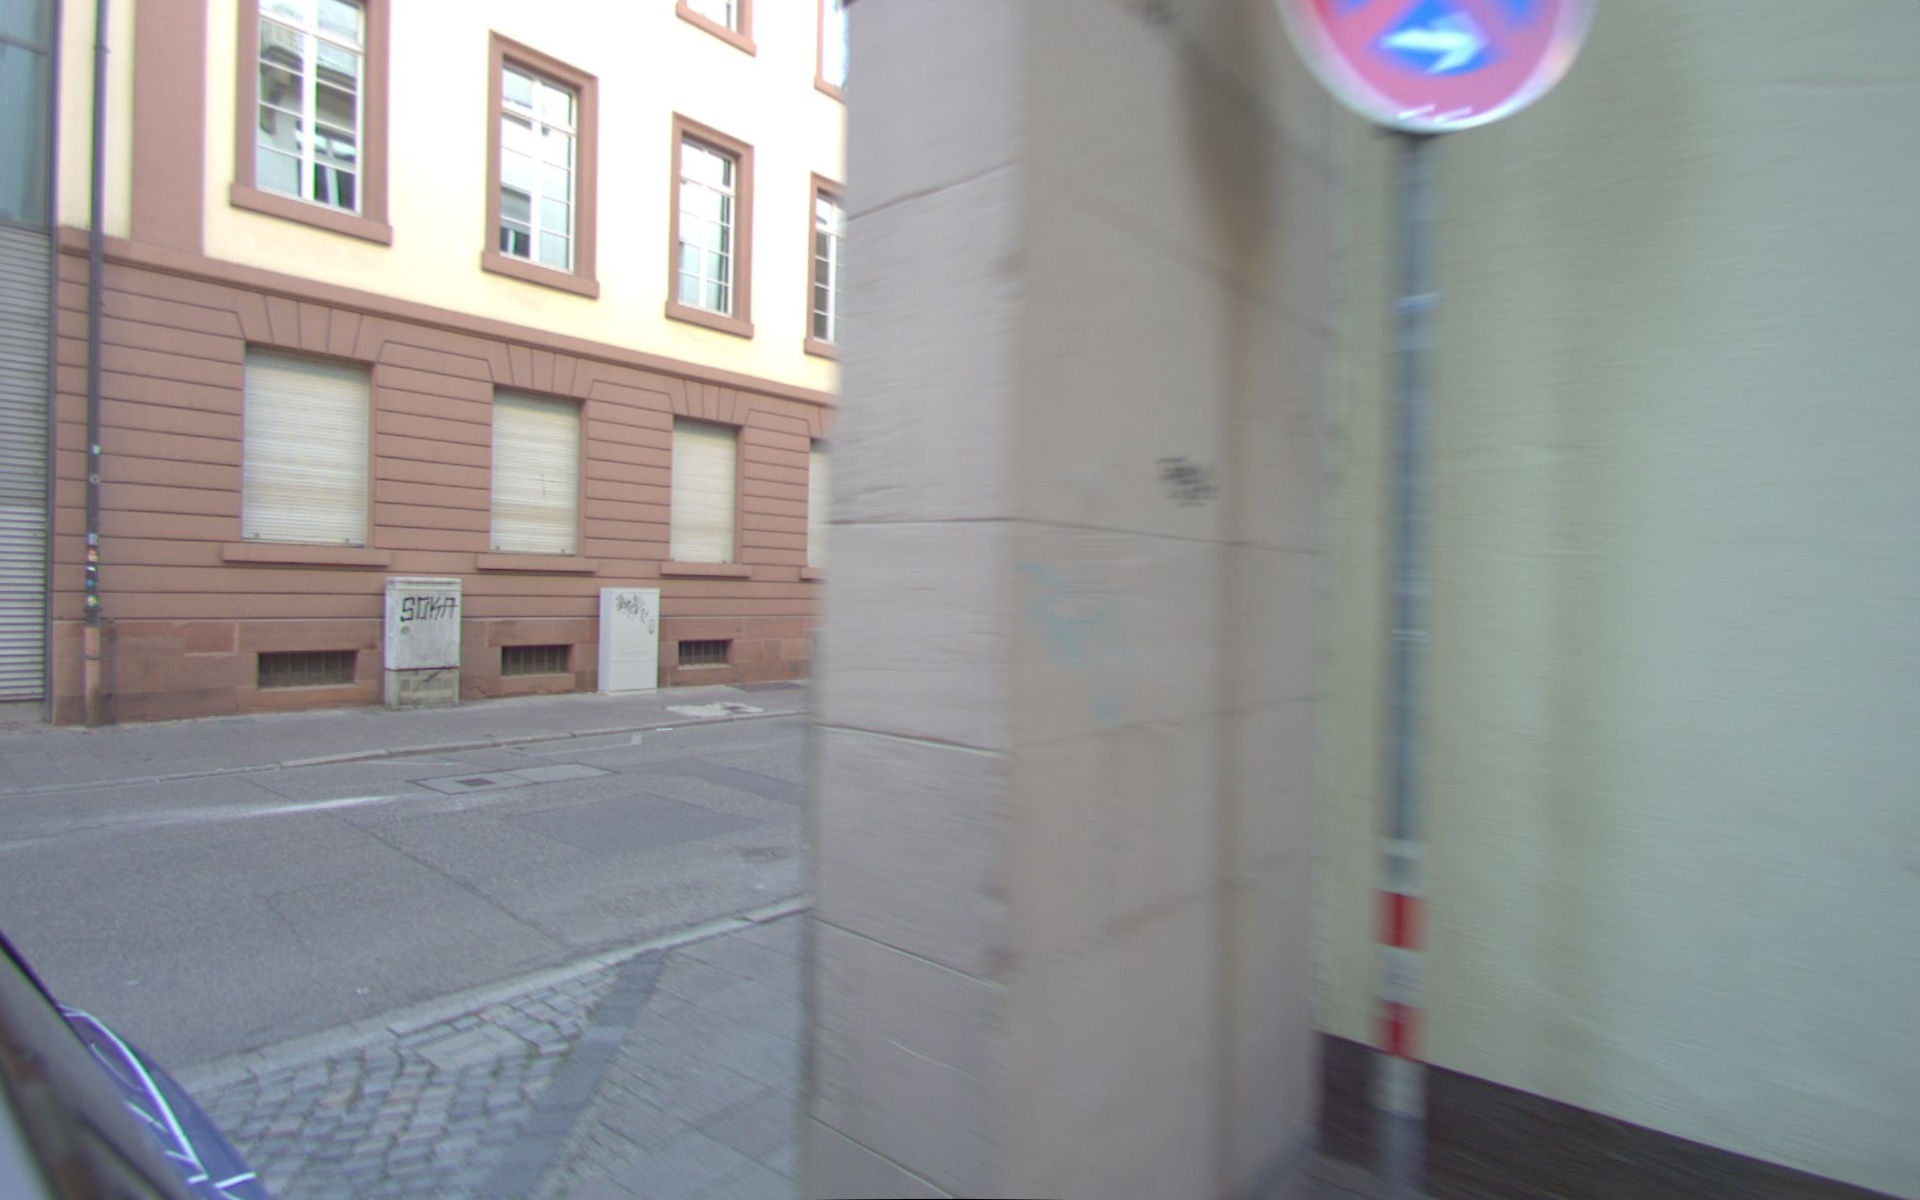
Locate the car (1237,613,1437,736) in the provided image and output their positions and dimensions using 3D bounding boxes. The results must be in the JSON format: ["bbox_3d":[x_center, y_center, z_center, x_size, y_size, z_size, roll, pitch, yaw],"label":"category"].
[{"bbox_3d":[5.488,0.965,14.559,1.638,1.452,3.113,5,2,41],"label":"car"}]

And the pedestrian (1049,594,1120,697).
[{"bbox_3d":[2.127,0.751,17.295,0.811,1.684,0.918,2,0,39],"label":"pedestrian"}]
